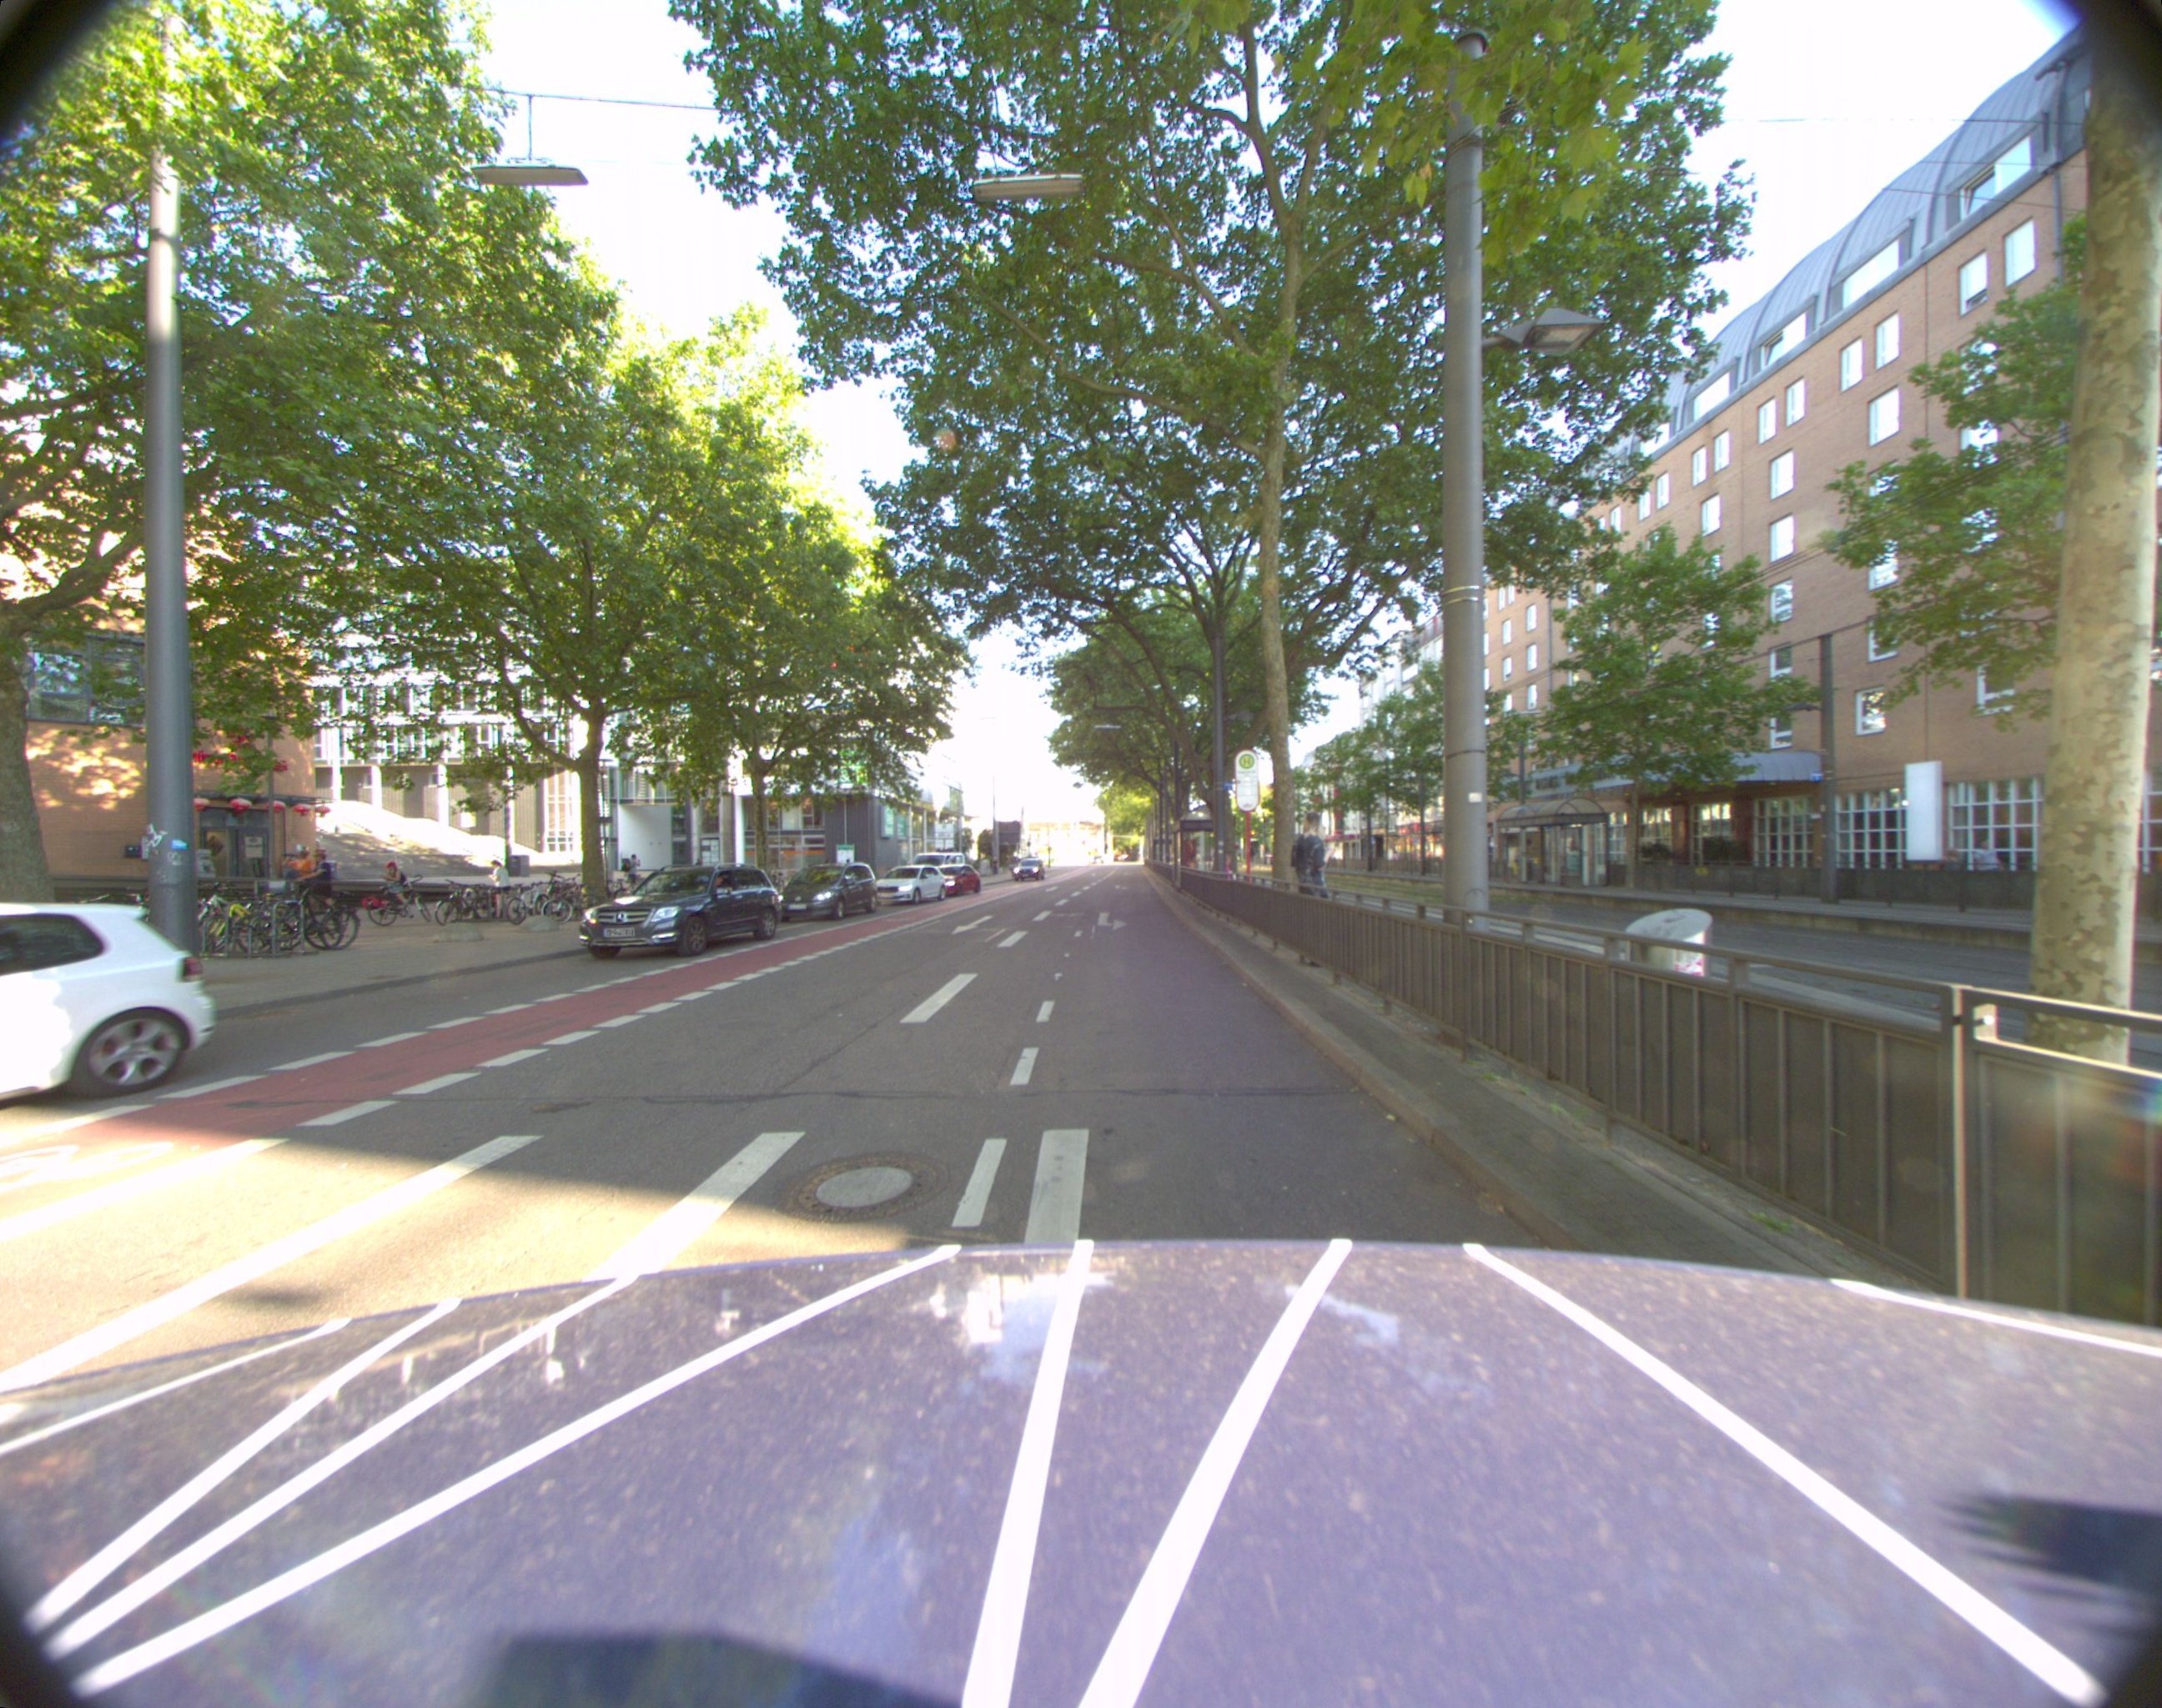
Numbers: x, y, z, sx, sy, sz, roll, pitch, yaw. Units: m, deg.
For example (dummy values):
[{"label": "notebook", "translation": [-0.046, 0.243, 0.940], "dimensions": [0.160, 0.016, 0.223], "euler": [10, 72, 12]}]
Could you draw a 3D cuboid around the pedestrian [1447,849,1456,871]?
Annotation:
[{"label": "pedestrian", "translation": [30.234, 0.484, 62.006], "dimensions": [0.504, 1.725, 0.574], "euler": [-1, 1, 3]}]

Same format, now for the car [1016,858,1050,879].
[{"label": "car", "translation": [-3.637, 1.089, 58.424], "dimensions": [1.784, 1.481, 4.197], "euler": [-3, 0, 7]}]

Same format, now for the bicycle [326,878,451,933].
[{"label": "bicycle", "translation": [-17.845, 1.291, 19.707], "dimensions": [0.699, 1.193, 2.700], "euler": [-2, 1, 1]}]

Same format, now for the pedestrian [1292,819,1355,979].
[{"label": "pedestrian", "translation": [2.866, 0.522, 9.026], "dimensions": [0.543, 1.823, 0.524], "euler": [-2, 1, 4]}]

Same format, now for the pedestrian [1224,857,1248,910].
[{"label": "pedestrian", "translation": [3.999, 0.753, 19.583], "dimensions": [0.542, 1.310, 0.524], "euler": [-2, 1, 12]}]

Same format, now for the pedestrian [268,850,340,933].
[{"label": "pedestrian", "translation": [-22.113, 1.030, 21.621], "dimensions": [1.048, 2.235, 1.221], "euler": [-1, 1, 38]}]

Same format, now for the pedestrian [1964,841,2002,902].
[{"label": "pedestrian", "translation": [26.023, 0.504, 21.924], "dimensions": [0.443, 1.725, 0.545], "euler": [0, 1, 8]}]

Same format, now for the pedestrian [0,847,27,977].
[{"label": "pedestrian", "translation": [-17.079, 0.894, 11.455], "dimensions": [0.934, 2.002, 1.091], "euler": [-1, 1, -25]}]

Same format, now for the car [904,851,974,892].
[{"label": "car", "translation": [-7.437, 0.868, 40.556], "dimensions": [1.932, 1.953, 5.921], "euler": [-2, 0, 7]}]

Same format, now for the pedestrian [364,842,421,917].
[{"label": "pedestrian", "translation": [-20.846, 0.763, 23.003], "dimensions": [0.842, 2.220, 0.905], "euler": [-2, 1, 22]}]

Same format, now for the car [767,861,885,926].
[{"label": "car", "translation": [-7.420, 1.090, 22.615], "dimensions": [1.709, 1.626, 4.391], "euler": [-2, 0, 4]}]

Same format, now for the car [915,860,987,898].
[{"label": "car", "translation": [-5.908, 1.106, 35.134], "dimensions": [1.834, 1.481, 4.198], "euler": [-3, 0, 11]}]

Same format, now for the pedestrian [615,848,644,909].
[{"label": "pedestrian", "translation": [-20.267, 1.086, 34.098], "dimensions": [0.981, 2.633, 0.900], "euler": [-3, 1, -31]}]

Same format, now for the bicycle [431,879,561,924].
[{"label": "bicycle", "translation": [-16.227, 1.290, 21.089], "dimensions": [3.328, 1.077, 1.150], "euler": [0, 1, 18]}]

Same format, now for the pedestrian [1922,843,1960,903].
[{"label": "pedestrian", "translation": [25.043, 0.535, 22.132], "dimensions": [0.479, 1.725, 0.545], "euler": [0, 1, 8]}]

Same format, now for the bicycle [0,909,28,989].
[{"label": "bicycle", "translation": [-13.401, 1.172, 7.984], "dimensions": [0.925, 0.943, 2.637], "euler": [-2, 1, 1]}]

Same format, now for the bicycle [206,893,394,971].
[{"label": "bicycle", "translation": [-13.113, 1.269, 12.893], "dimensions": [0.682, 1.054, 2.337], "euler": [-1, 1, 2]}]

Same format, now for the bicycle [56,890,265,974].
[{"label": "bicycle", "translation": [-15.653, 1.274, 13.054], "dimensions": [0.657, 1.155, 2.293], "euler": [-2, 1, 3]}]

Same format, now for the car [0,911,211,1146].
[{"label": "car", "translation": [-7.764, 1.187, 4.050], "dimensions": [1.639, 1.420, 3.986], "euler": [-2, 0, 0]}]

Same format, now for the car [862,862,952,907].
[{"label": "car", "translation": [-6.647, 1.130, 29.528], "dimensions": [1.834, 1.481, 4.198], "euler": [-2, 0, 11]}]

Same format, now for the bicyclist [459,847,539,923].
[{"label": "bicyclist", "translation": [-16.095, 0.835, 21.044], "dimensions": [1.296, 2.002, 1.158], "euler": [-1, 1, 17]}]

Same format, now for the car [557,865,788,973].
[{"label": "car", "translation": [-7.476, 1.095, 14.476], "dimensions": [1.768, 1.626, 4.251], "euler": [-2, 0, 5]}]

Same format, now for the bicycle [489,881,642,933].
[{"label": "bicycle", "translation": [-13.102, 1.312, 19.511], "dimensions": [0.975, 1.020, 3.208], "euler": [-2, 1, 23]}]

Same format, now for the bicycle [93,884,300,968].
[{"label": "bicycle", "translation": [-14.916, 1.162, 12.946], "dimensions": [0.671, 1.155, 2.305], "euler": [-2, 1, 3]}]

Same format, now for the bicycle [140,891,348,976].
[{"label": "bicycle", "translation": [-14.075, 1.284, 12.930], "dimensions": [0.751, 1.155, 2.398], "euler": [-2, 1, 3]}]
